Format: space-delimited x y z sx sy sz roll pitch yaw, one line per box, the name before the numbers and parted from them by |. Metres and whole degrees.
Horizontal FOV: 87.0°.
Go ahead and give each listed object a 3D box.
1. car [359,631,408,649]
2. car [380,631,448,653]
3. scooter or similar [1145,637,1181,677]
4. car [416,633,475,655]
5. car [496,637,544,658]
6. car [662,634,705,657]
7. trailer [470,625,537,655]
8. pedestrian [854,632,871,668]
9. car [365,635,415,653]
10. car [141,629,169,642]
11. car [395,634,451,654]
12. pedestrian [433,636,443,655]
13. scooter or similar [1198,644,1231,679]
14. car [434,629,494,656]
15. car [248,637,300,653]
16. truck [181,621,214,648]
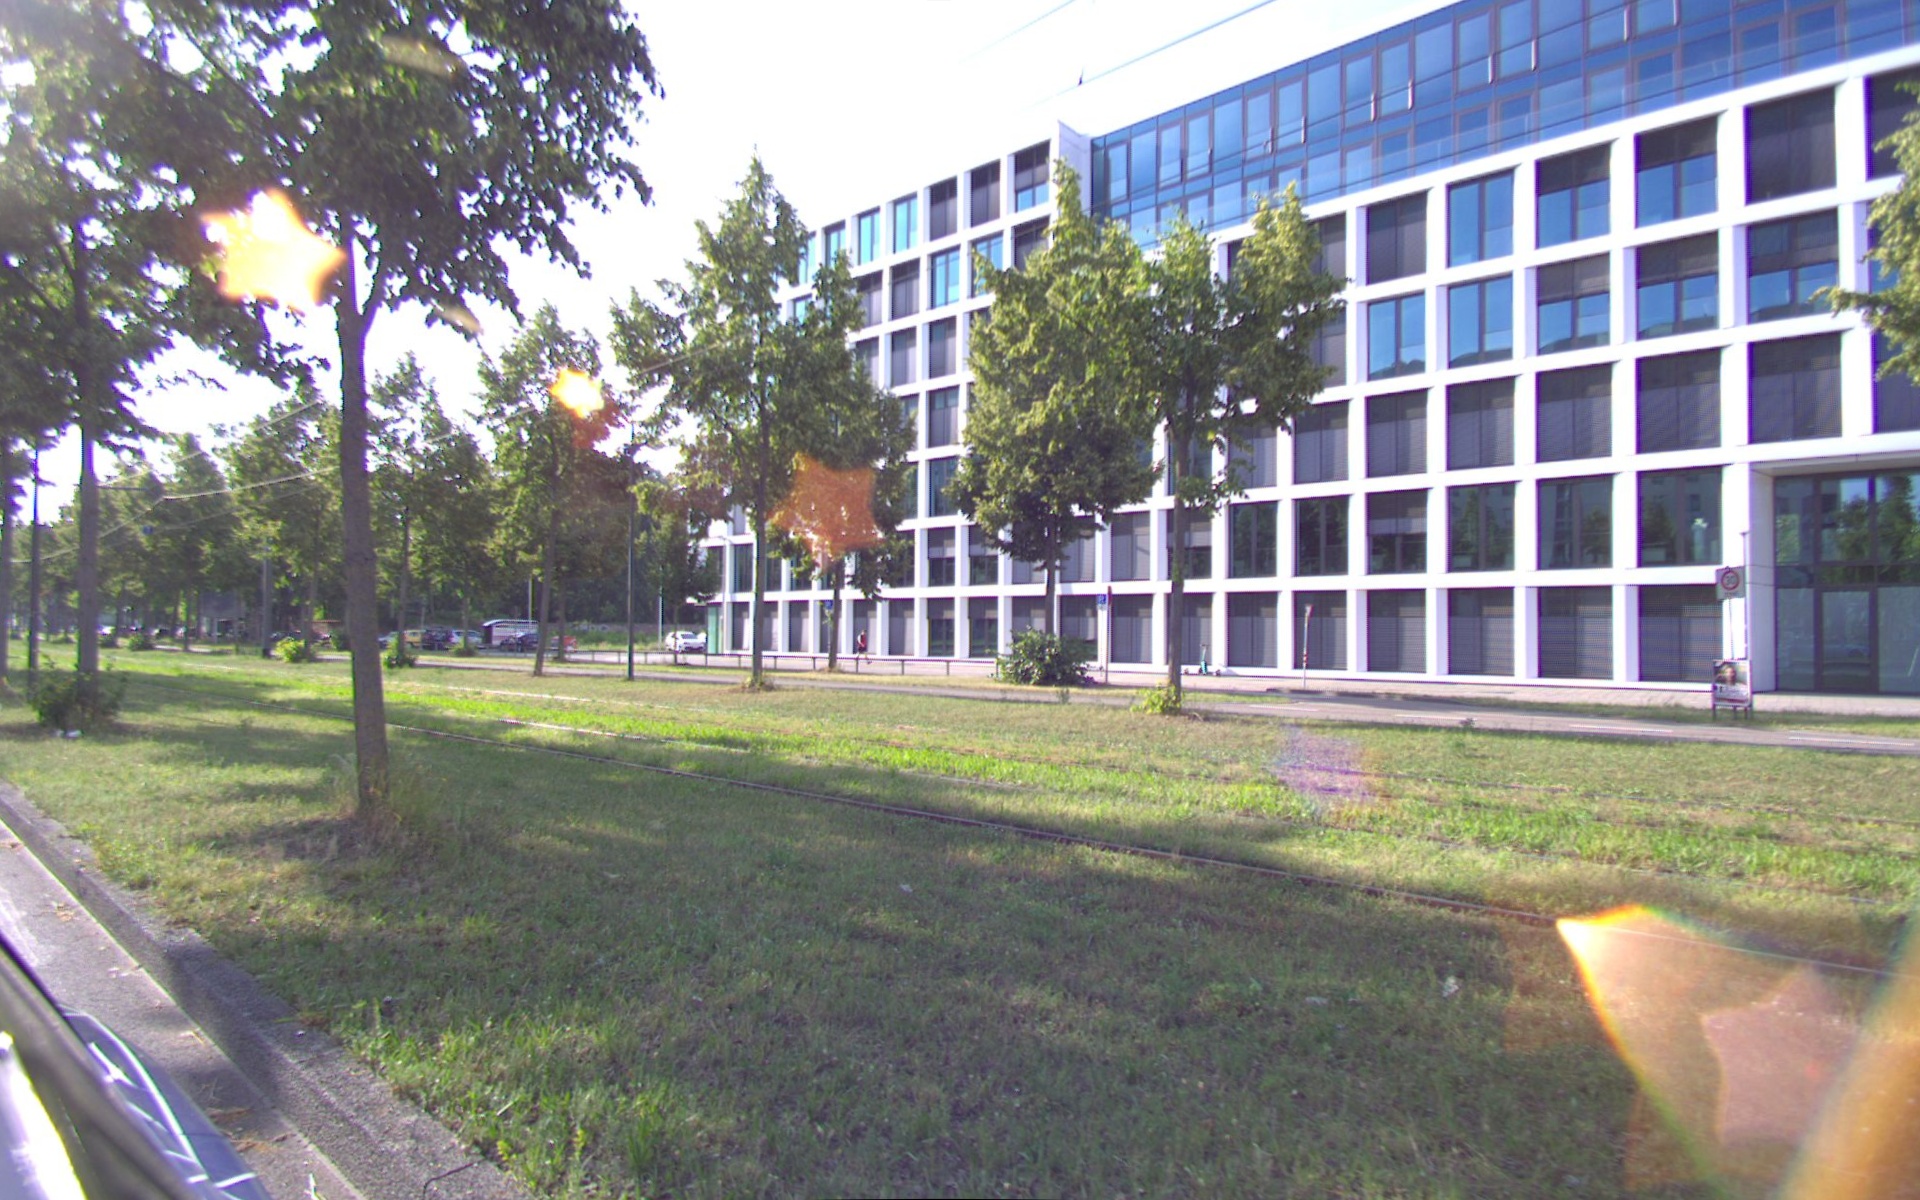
car | -55.286 3.826 97.112 3.810 1.497 1.746 -1 0 -42
car | -48.547 3.673 89.988 1.886 1.748 5.004 -1 0 43
scooter or similar | 7.970 2.227 39.722 0.415 1.488 1.907 -1 0 45
car | -41.932 3.568 82.529 1.757 1.655 3.950 -1 0 41
car | -32.313 3.455 74.268 3.756 1.404 1.663 -1 0 38
car | -21.628 3.533 79.042 1.824 1.608 4.008 -1 0 -38
trailer | -34.839 3.017 77.240 1.758 2.069 4.315 -1 0 44
pedestrian | -4.936 2.528 51.242 0.691 1.741 0.561 -1 0 41
car | -51.143 3.965 90.846 1.810 1.439 3.607 -1 0 43
car | -91.591 4.015 115.141 4.474 1.442 1.811 -1 0 42
car | -46.759 3.785 88.234 1.856 1.572 3.943 -1 0 43
pedestrian | -41.015 3.574 79.560 0.568 1.491 0.516 -1 0 40
scooter or similar | 9.738 2.340 38.693 0.331 1.235 1.302 0 0 -36
car | -39.552 3.384 80.748 1.757 1.962 3.950 -1 0 41
car | -63.874 4.168 94.275 3.992 1.446 1.681 -1 0 11
truck | -108.796 4.863 144.348 2.855 3.542 7.950 -1 0 -44
